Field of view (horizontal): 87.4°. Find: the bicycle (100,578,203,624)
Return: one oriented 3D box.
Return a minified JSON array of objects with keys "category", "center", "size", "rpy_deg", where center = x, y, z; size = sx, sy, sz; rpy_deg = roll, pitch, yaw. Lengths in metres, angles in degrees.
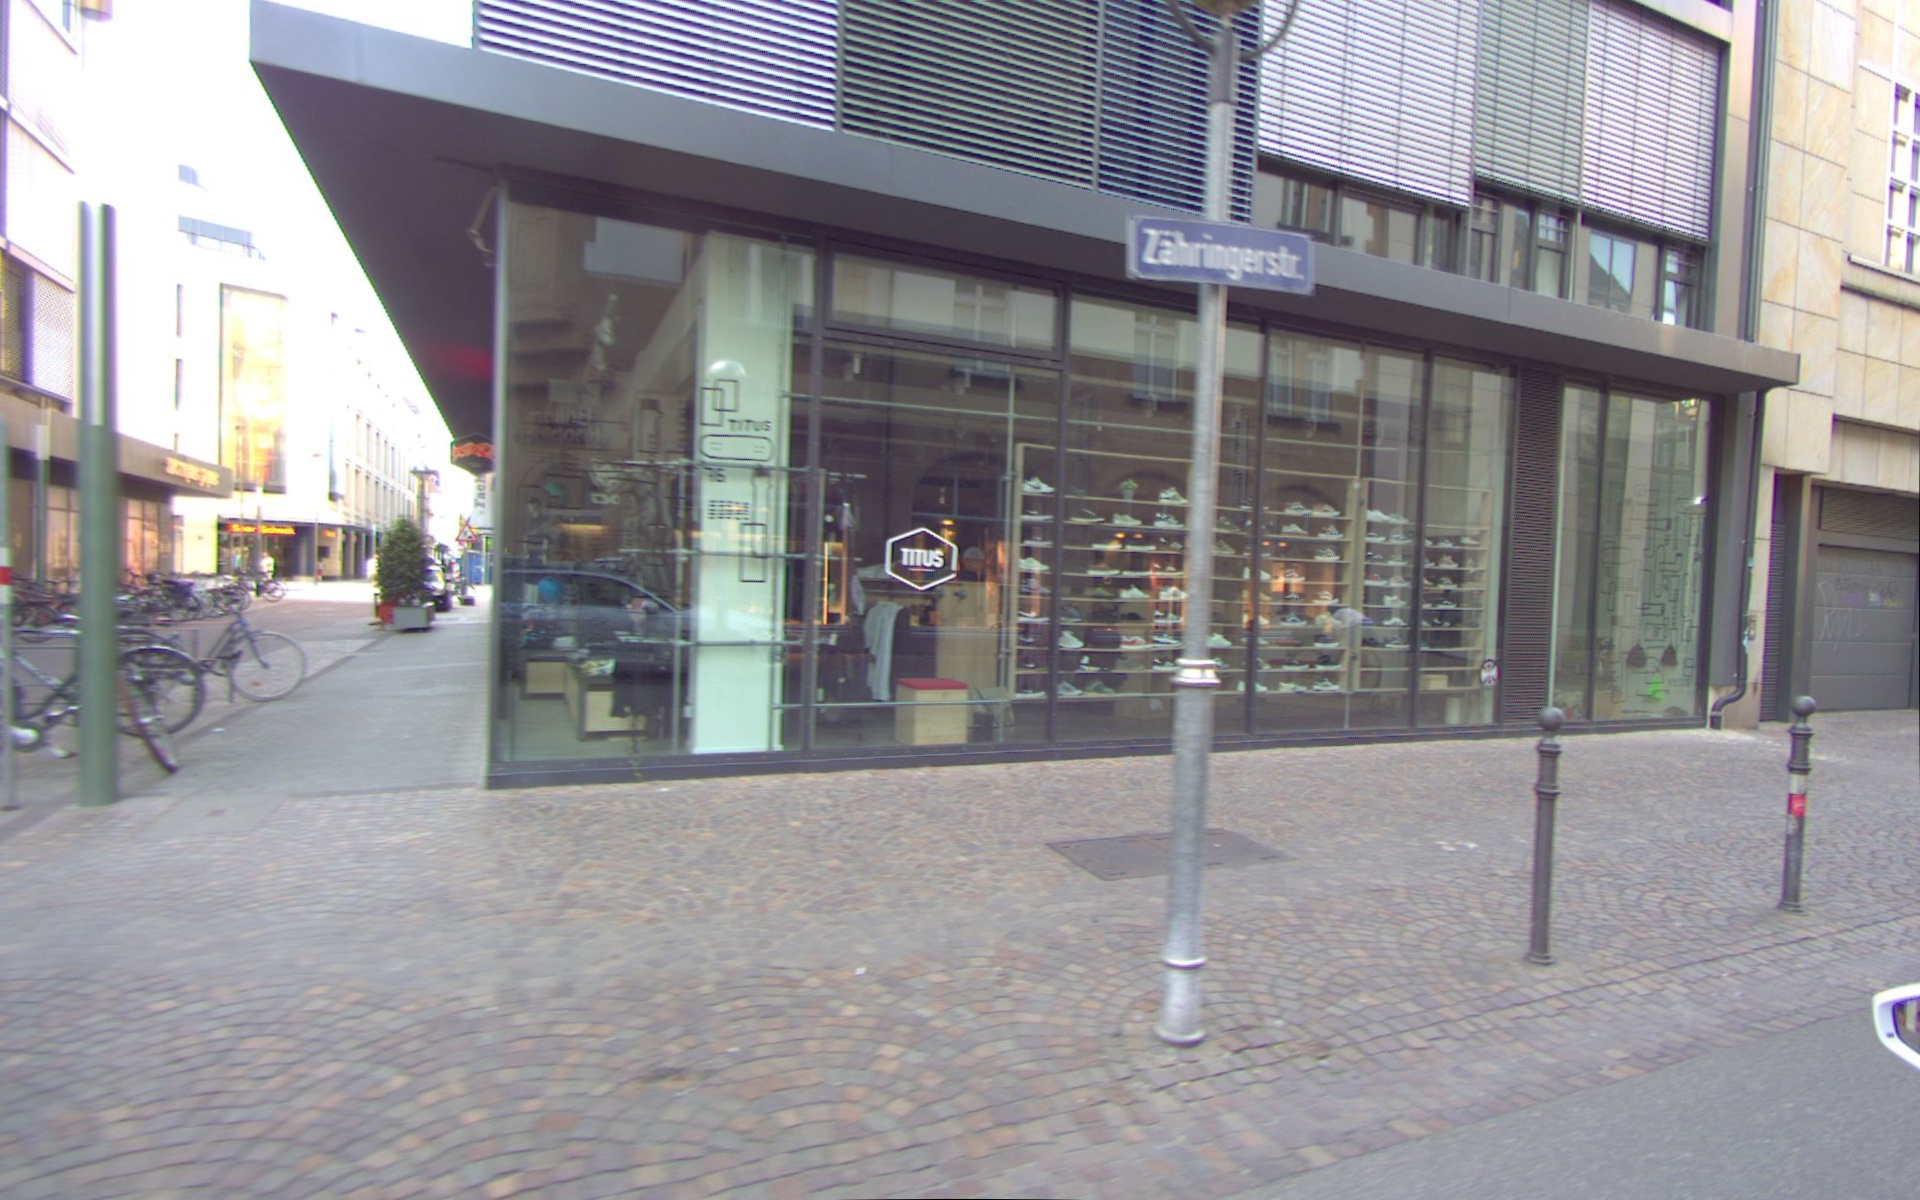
[{"category":"bicycle","center":[-18.654,0.031,23.207],"size":[1.771,1.022,0.527],"rpy_deg":[1,1,-26]}]

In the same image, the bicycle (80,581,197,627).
[{"category":"bicycle","center":[-18.074,0.087,22.147],"size":[1.919,0.970,0.463],"rpy_deg":[1,1,-26]}]

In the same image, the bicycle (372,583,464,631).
[{"category":"bicycle","center":[-11.913,0.149,22.117],"size":[1.770,1.028,0.365],"rpy_deg":[0,2,-26]}]

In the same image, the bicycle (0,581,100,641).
[{"category":"bicycle","center":[-16.602,0.204,18.142],"size":[1.535,1.051,0.463],"rpy_deg":[1,1,-26]}]

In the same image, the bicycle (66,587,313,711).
[{"category":"bicycle","center":[-7.702,0.458,10.146],"size":[1.886,1.160,0.553],"rpy_deg":[0,2,-26]}]

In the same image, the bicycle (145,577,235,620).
[{"category":"bicycle","center":[-19.711,-0.035,25.739],"size":[1.753,1.065,0.463],"rpy_deg":[1,1,-26]}]

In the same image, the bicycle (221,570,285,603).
[{"category":"bicycle","center":[-24.035,-0.442,34.159],"size":[1.710,1.076,0.434],"rpy_deg":[1,1,-26]}]

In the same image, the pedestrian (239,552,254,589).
[{"category":"pedestrian","center":[-31.454,-1.297,44.278],"size":[0.474,1.573,0.430],"rpy_deg":[0,2,-40]}]

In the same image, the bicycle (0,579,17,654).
[{"category":"bicycle","center":[-14.958,0.227,14.750],"size":[1.522,1.099,0.545],"rpy_deg":[1,1,-26]}]

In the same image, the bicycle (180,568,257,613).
[{"category":"bicycle","center":[-21.210,-0.256,28.772],"size":[1.710,1.245,0.463],"rpy_deg":[1,1,-26]}]

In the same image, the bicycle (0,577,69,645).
[{"category":"bicycle","center":[-15.867,0.174,16.537],"size":[1.705,1.106,0.545],"rpy_deg":[1,1,-26]}]

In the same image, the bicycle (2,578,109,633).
[{"category":"bicycle","center":[-17.294,0.114,19.230],"size":[1.436,1.019,0.463],"rpy_deg":[1,1,-26]}]

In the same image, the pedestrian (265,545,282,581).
[{"category":"pedestrian","center":[-30.876,-1.653,45.166],"size":[0.372,1.594,0.478],"rpy_deg":[2,1,14]}]

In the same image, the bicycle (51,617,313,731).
[{"category":"bicycle","center":[-6.845,0.625,8.938],"size":[1.769,0.907,0.451],"rpy_deg":[-1,2,-26]}]

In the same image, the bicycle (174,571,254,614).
[{"category":"bicycle","center":[-20.799,-0.214,28.031],"size":[1.710,1.161,0.463],"rpy_deg":[1,1,-26]}]

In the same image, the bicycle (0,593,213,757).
[{"category":"bicycle","center":[-6.833,0.539,7.569],"size":[1.817,1.166,0.606],"rpy_deg":[-1,2,-26]}]

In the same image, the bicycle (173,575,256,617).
[{"category":"bicycle","center":[-19.998,-0.100,26.982],"size":[1.710,1.065,0.463],"rpy_deg":[1,1,-26]}]

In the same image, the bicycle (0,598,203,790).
[{"category":"bicycle","center":[-5.890,0.568,6.329],"size":[1.651,1.128,0.705],"rpy_deg":[-1,2,-26]}]

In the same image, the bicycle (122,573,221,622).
[{"category":"bicycle","center":[-19.237,-0.047,24.541],"size":[1.824,1.151,0.463],"rpy_deg":[1,1,-26]}]
